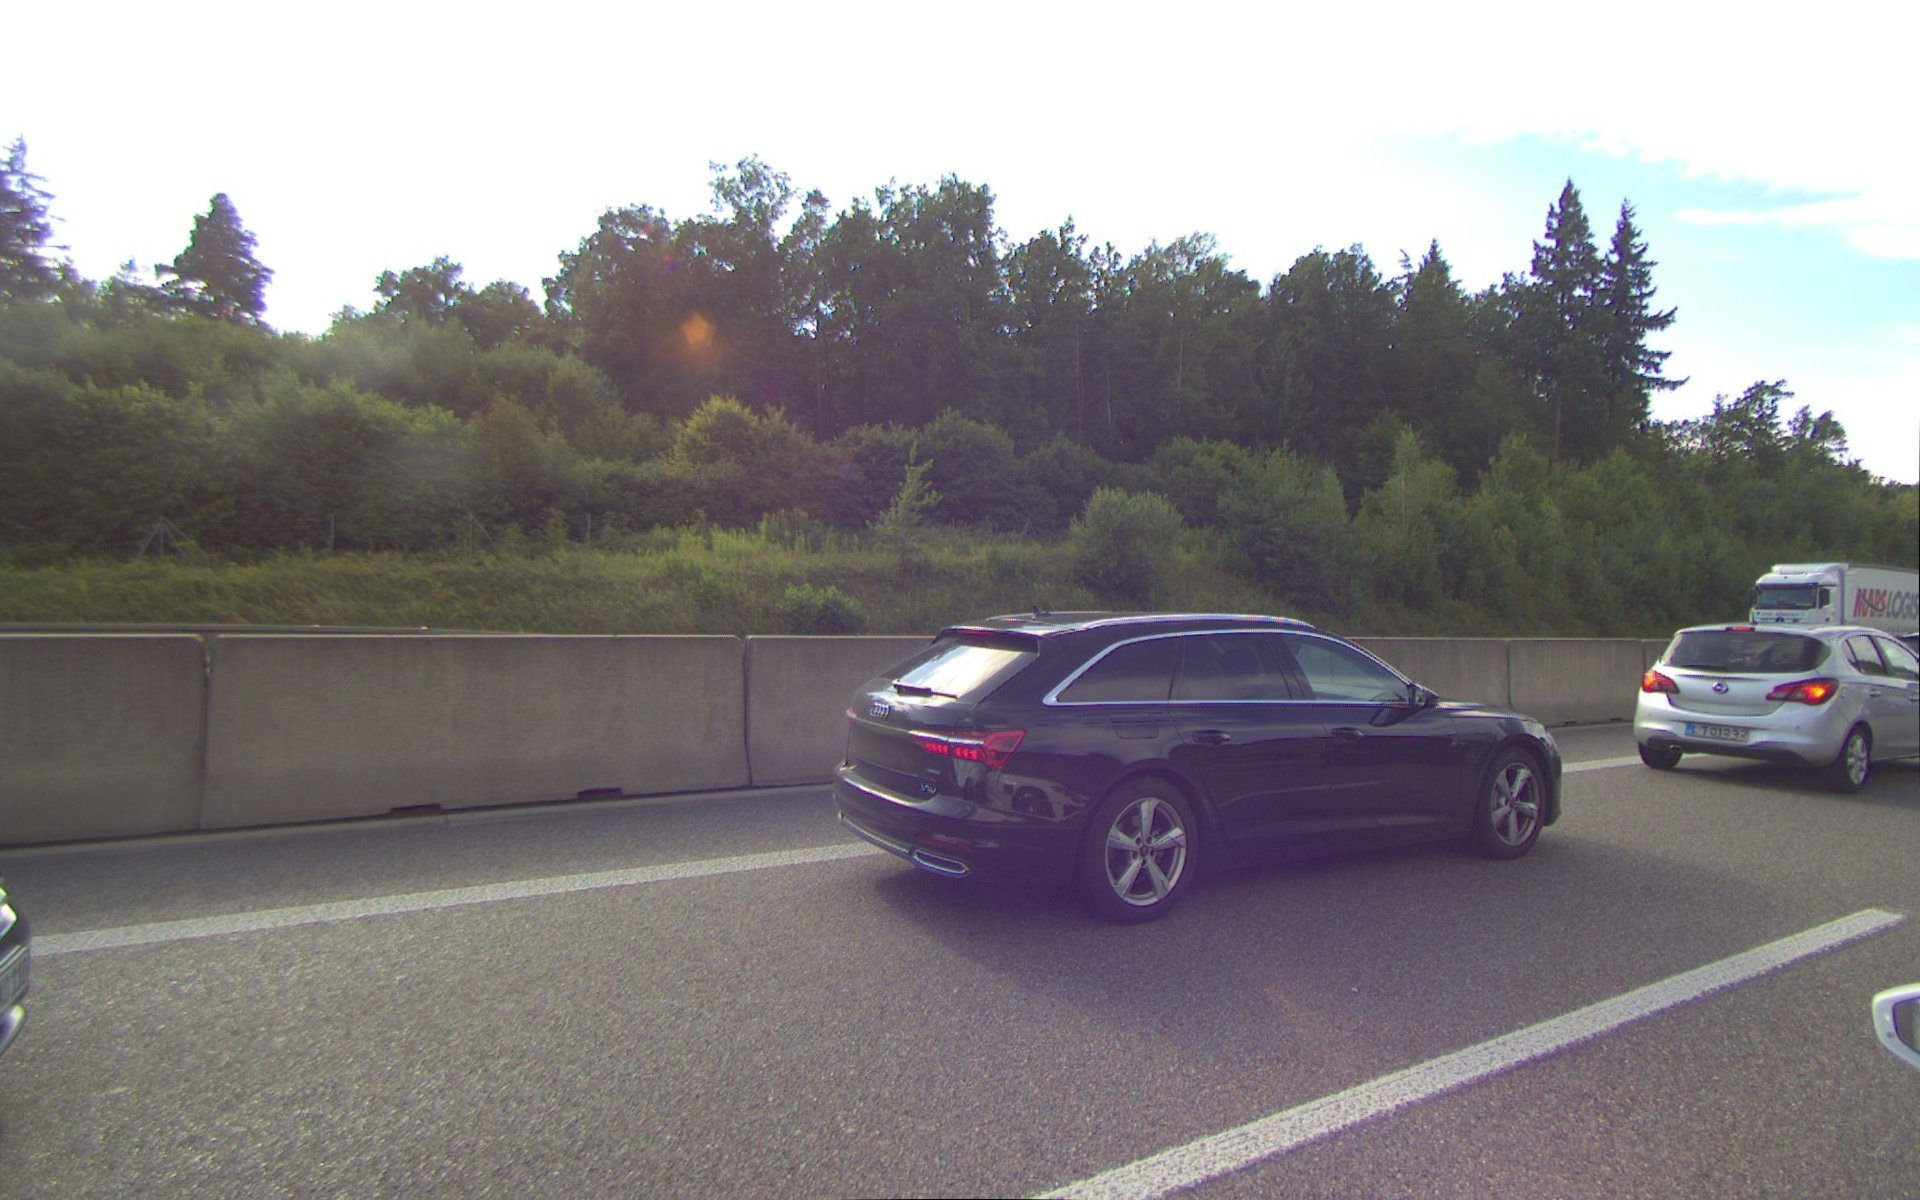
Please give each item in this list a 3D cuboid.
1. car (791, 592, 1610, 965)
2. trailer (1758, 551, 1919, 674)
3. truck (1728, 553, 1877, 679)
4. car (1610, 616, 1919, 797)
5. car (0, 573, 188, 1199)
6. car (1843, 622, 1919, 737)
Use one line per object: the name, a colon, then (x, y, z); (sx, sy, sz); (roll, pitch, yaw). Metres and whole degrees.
car: (1.589, 0.758, 6.037); (4.793, 1.491, 1.874); (1, 0, -29)
trailer: (43.719, 0.727, 48.791); (13.675, 5.351, 3.027); (2, 0, -31)
truck: (38.173, 0.747, 45.487); (6.804, 5.322, 3.024); (2, 0, -31)
car: (8.505, 0.923, 10.085); (3.993, 1.485, 1.738); (1, -1, -30)
car: (-4.330, 0.646, 1.678); (4.511, 1.497, 1.903); (1, 0, -28)
car: (14.601, 1.092, 14.151); (4.691, 1.475, 1.834); (1, 0, -30)
